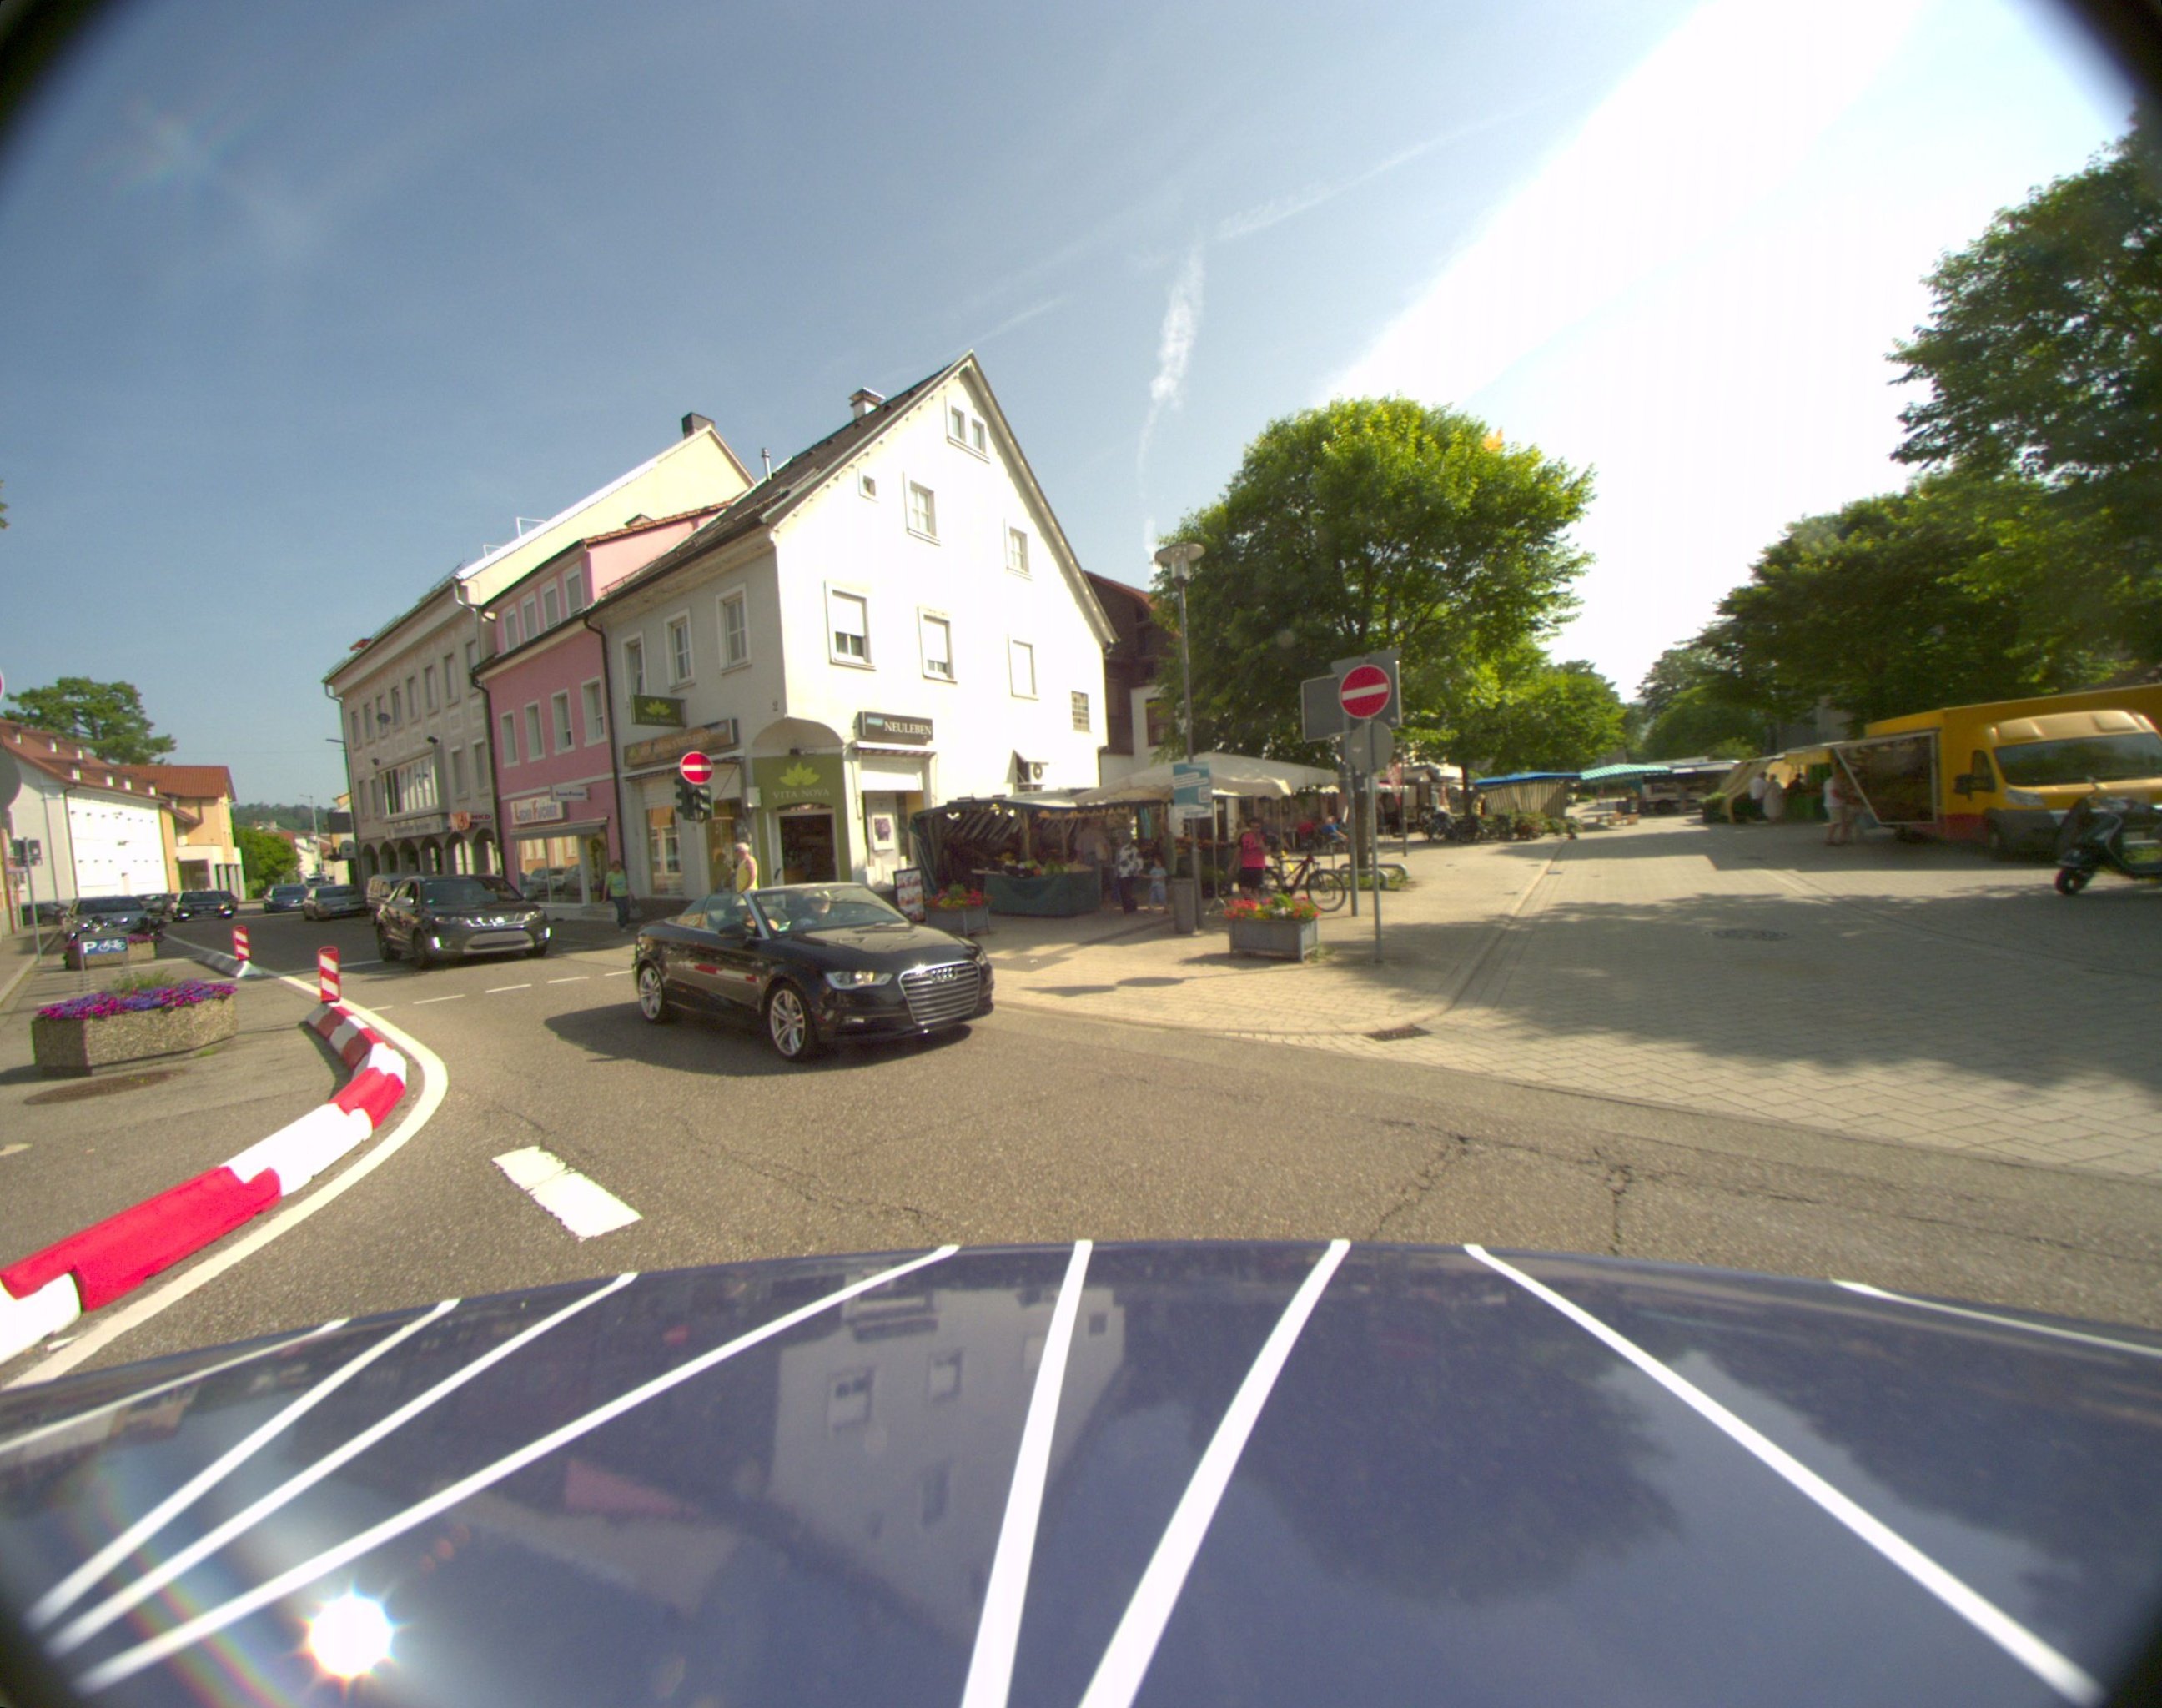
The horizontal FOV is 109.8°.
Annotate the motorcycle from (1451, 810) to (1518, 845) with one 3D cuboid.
[{"bbox_3d":[14.415,-0.968,27.196,0.644,1.189,1.999,-4,5,-38],"label":"motorcycle"}]

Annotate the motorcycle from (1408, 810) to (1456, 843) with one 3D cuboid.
[{"bbox_3d":[13.262,-1.045,28.703,1.528,1.189,0.644,2,5,38],"label":"motorcycle"}]

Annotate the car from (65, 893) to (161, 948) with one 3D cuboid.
[{"bbox_3d":[-33.776,2.238,26.473,4.582,1.588,1.753,-2,3,36],"label":"car"}]

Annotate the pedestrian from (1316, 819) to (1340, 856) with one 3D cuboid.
[{"bbox_3d":[8.197,-0.558,25.235,0.697,1.195,0.573,0,5,24],"label":"pedestrian"}]

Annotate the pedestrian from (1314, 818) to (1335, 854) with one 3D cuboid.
[{"bbox_3d":[8.386,-0.609,26.151,0.570,1.195,0.651,1,5,28],"label":"pedestrian"}]

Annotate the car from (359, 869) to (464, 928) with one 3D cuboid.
[{"bbox_3d":[-23.487,1.534,26.609,4.134,1.730,1.714,-2,4,36],"label":"car"}]

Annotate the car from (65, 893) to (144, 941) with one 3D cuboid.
[{"bbox_3d":[-37.899,2.398,29.526,4.092,1.550,1.687,-2,3,38],"label":"car"}]

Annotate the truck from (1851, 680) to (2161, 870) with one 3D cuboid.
[{"bbox_3d":[18.147,-1.502,14.951,3.002,2.743,8.874,-2,3,38],"label":"truck"}]

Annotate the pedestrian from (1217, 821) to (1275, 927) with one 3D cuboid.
[{"bbox_3d":[2.682,0.310,12.303,0.882,1.650,0.572,-1,5,15],"label":"pedestrian"}]

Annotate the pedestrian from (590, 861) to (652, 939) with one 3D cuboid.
[{"bbox_3d":[-10.328,1.004,17.064,0.856,1.623,0.789,-1,5,39],"label":"pedestrian"}]

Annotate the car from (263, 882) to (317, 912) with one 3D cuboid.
[{"bbox_3d":[-47.093,2.543,45.215,3.960,1.552,1.774,-2,2,38],"label":"car"}]

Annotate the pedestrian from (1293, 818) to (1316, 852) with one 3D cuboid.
[{"bbox_3d":[8.004,-0.690,27.226,0.570,1.195,0.652,2,6,39],"label":"pedestrian"}]

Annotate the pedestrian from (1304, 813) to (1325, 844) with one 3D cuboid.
[{"bbox_3d":[9.185,-1.008,29.898,0.570,1.195,0.652,2,6,39],"label":"pedestrian"}]

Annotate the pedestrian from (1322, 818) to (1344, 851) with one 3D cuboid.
[{"bbox_3d":[9.195,-0.720,27.762,0.570,1.195,0.652,2,6,39],"label":"pedestrian"}]

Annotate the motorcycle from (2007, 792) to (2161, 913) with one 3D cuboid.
[{"bbox_3d":[12.778,-0.041,9.004,2.082,1.353,0.890,-4,1,37],"label":"motorcycle"}]

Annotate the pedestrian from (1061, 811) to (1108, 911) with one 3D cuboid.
[{"bbox_3d":[0.082,0.135,15.500,0.706,1.974,0.653,-2,2,17],"label":"pedestrian"}]

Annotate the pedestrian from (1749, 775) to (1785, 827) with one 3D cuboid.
[{"bbox_3d":[22.965,-1.763,25.445,0.680,1.672,0.583,-4,3,21],"label":"pedestrian"}]

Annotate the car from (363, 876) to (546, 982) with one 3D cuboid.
[{"bbox_3d":[-11.538,1.251,13.909,3.959,1.552,1.687,-1,3,38],"label":"car"}]

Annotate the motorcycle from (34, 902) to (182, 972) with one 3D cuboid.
[{"bbox_3d":[-22.976,1.927,18.019,0.916,1.350,1.900,-3,2,3],"label":"motorcycle"}]

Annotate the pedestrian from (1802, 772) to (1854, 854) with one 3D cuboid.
[{"bbox_3d":[16.998,-0.940,17.304,0.680,1.777,0.727,-4,3,35],"label":"pedestrian"}]

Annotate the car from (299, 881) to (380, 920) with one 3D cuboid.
[{"bbox_3d":[-32.423,1.998,33.195,4.443,1.462,1.812,-2,3,38],"label":"car"}]

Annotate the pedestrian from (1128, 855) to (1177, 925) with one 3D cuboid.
[{"bbox_3d":[1.251,0.611,13.224,0.623,1.154,0.515,-5,3,-40],"label":"pedestrian"}]

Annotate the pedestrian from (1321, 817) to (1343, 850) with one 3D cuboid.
[{"bbox_3d":[9.408,-0.779,28.461,0.570,1.195,0.652,2,6,39],"label":"pedestrian"}]

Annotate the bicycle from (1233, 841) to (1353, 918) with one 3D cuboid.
[{"bbox_3d":[3.657,0.442,13.142,1.858,1.228,0.618,-2,3,30],"label":"bicycle"}]

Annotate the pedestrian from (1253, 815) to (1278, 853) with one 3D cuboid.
[{"bbox_3d":[6.755,-0.734,27.804,0.625,1.324,0.700,2,6,41],"label":"pedestrian"}]

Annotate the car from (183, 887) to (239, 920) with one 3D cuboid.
[{"bbox_3d":[-46.230,2.603,40.357,3.333,1.552,1.687,-2,2,38],"label":"car"}]

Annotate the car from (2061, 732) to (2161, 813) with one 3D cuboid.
[{"bbox_3d":[27.770,-2.057,18.097,5.059,1.881,2.003,-1,2,34],"label":"car"}]

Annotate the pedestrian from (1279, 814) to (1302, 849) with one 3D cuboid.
[{"bbox_3d":[8.076,-0.866,29.276,0.625,1.324,0.700,2,6,41],"label":"pedestrian"}]

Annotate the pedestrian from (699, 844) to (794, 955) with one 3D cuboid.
[{"bbox_3d":[-6.046,0.803,13.805,1.020,1.806,0.907,-5,6,6],"label":"pedestrian"}]

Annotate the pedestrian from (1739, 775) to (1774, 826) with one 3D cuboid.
[{"bbox_3d":[23.161,-1.828,26.062,0.680,1.672,0.583,-4,1,22],"label":"pedestrian"}]

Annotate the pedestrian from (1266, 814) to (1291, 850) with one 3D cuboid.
[{"bbox_3d":[7.396,-0.822,28.468,0.625,1.324,0.700,2,6,41],"label":"pedestrian"}]

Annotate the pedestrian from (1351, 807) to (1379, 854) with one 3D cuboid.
[{"bbox_3d":[9.445,-0.789,25.295,0.697,1.545,0.573,3,6,44],"label":"pedestrian"}]

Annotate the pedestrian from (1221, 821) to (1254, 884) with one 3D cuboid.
[{"bbox_3d":[3.851,-0.053,18.701,0.620,1.510,0.634,-2,3,25],"label":"pedestrian"}]

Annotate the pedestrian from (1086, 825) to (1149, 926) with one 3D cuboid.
[{"bbox_3d":[0.647,0.362,13.560,0.789,1.714,0.705,-4,3,-39],"label":"pedestrian"}]

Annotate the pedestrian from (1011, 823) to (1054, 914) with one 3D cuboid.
[{"bbox_3d":[-1.080,0.309,16.936,0.708,1.960,0.507,-4,3,-26],"label":"pedestrian"}]

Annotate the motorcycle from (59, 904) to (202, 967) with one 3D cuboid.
[{"bbox_3d":[-24.011,2.030,19.270,0.928,1.263,2.090,-3,2,-2],"label":"motorcycle"}]

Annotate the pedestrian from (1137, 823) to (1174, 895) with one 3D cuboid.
[{"bbox_3d":[1.744,0.109,17.784,0.520,1.618,0.708,-1,3,34],"label":"pedestrian"}]

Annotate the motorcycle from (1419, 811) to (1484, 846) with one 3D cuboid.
[{"bbox_3d":[13.320,-0.939,27.354,0.644,1.189,1.999,-5,6,-38],"label":"motorcycle"}]

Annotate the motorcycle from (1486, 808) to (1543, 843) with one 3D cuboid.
[{"bbox_3d":[15.611,-1.042,27.414,0.643,1.189,2.002,-2,4,-10],"label":"motorcycle"}]

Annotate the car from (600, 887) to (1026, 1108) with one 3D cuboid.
[{"bbox_3d":[-2.669,1.051,7.066,4.188,1.349,1.759,-2,1,39],"label":"car"}]

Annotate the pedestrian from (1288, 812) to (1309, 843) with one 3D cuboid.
[{"bbox_3d":[8.640,-1.053,30.198,0.570,1.195,0.652,2,6,39],"label":"pedestrian"}]
